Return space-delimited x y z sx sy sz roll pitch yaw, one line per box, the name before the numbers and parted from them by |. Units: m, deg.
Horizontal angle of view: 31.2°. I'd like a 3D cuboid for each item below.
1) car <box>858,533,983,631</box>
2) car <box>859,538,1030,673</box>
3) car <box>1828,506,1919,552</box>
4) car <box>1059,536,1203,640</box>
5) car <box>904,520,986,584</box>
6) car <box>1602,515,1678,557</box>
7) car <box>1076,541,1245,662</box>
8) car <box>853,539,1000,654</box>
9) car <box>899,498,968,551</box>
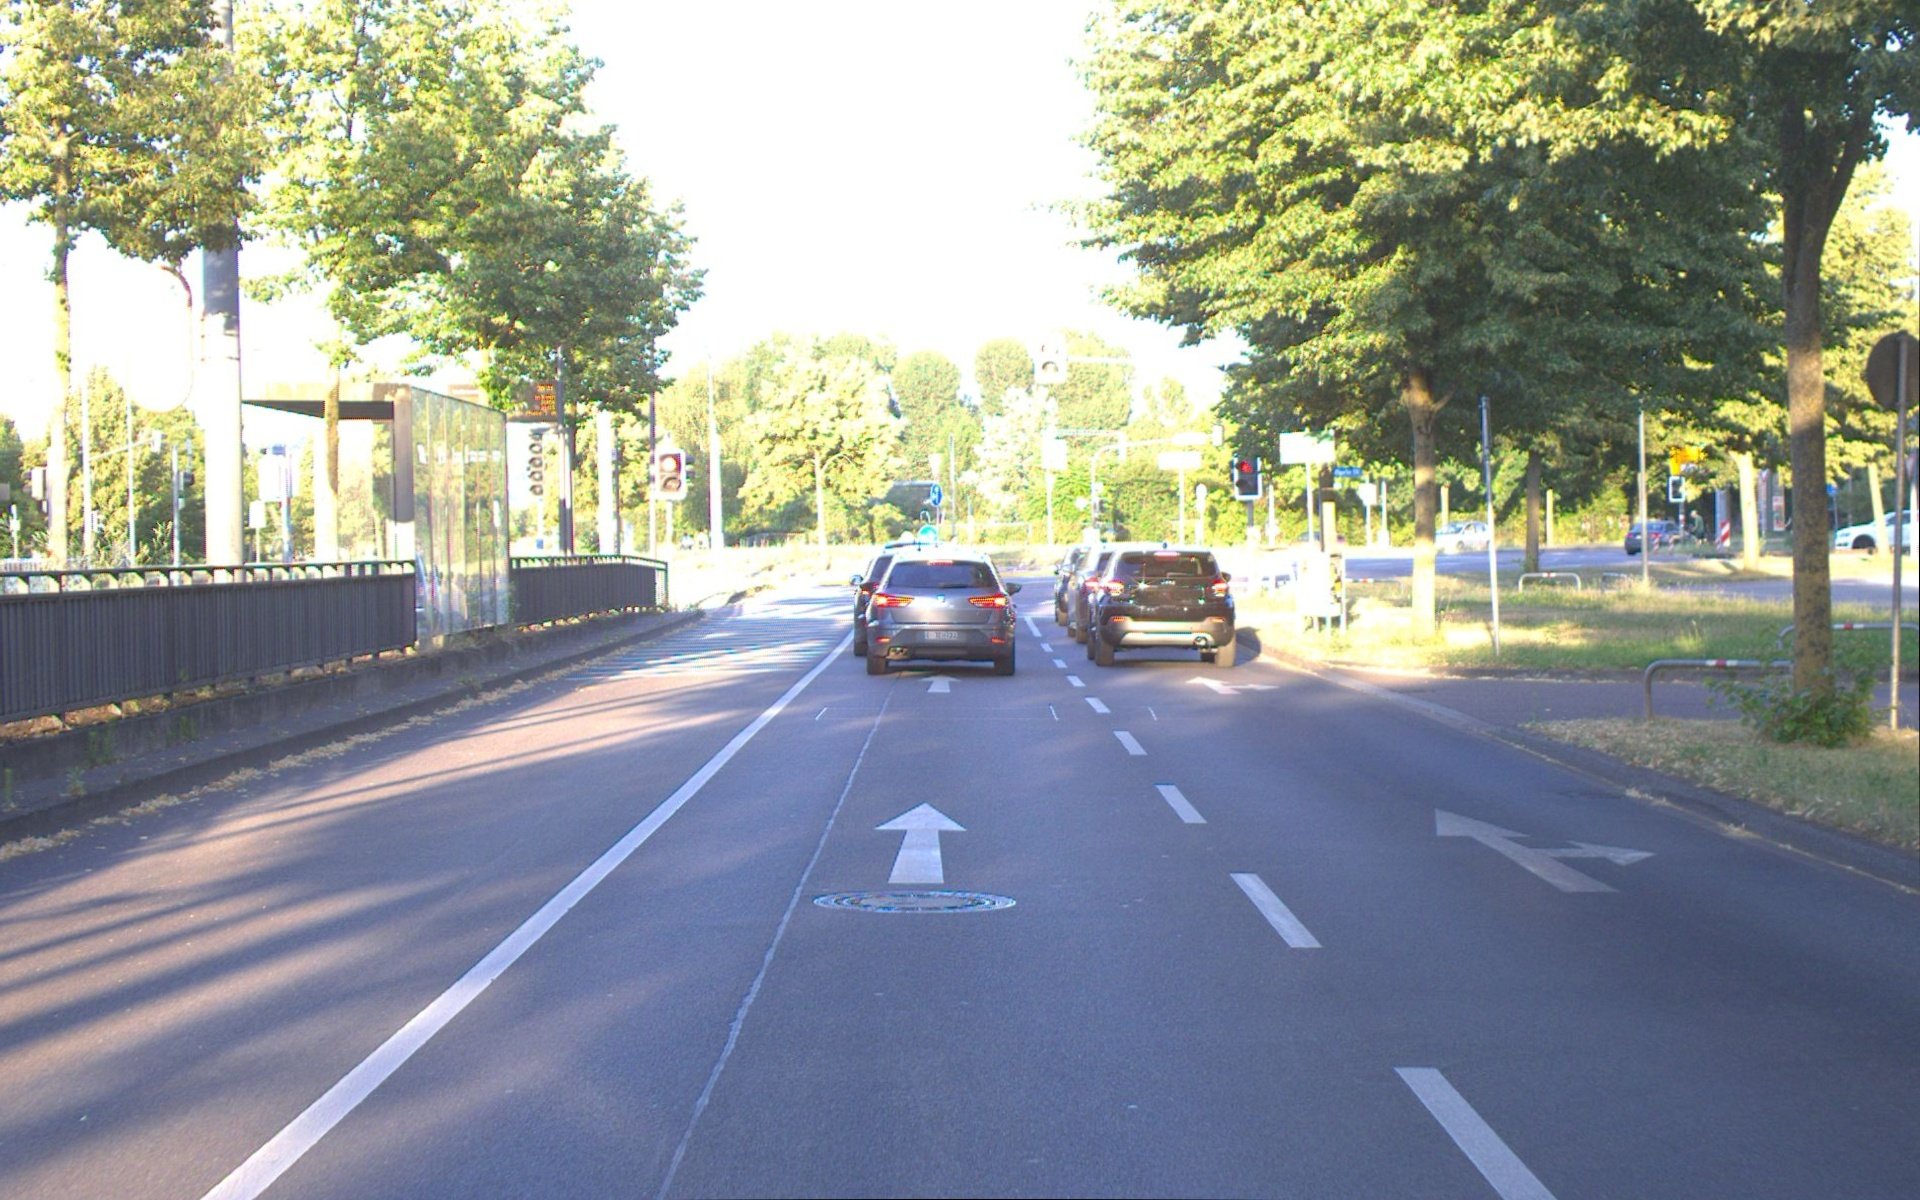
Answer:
car | -0.637 -0.311 55.157 1.911 1.481 4.000 -1 1 -1
car | -0.202 0.027 40.874 1.911 1.481 4.000 -1 1 -1
car | 31.010 -2.349 113.727 4.428 1.481 1.917 -1 1 13
car | 2.548 -0.214 52.060 1.911 1.481 4.000 -1 1 -1
car | -0.384 -1.163 82.895 1.911 1.481 4.000 -1 1 -1
car | 28.581 -2.691 144.436 1.997 1.722 3.994 0 1 29
car | 2.562 -0.016 44.747 1.911 1.481 4.000 -1 1 -1
car | -0.469 -0.083 47.175 1.911 1.481 4.000 -1 1 -1
car | -0.781 -2.166 98.607 1.911 1.481 4.000 -1 1 -1
